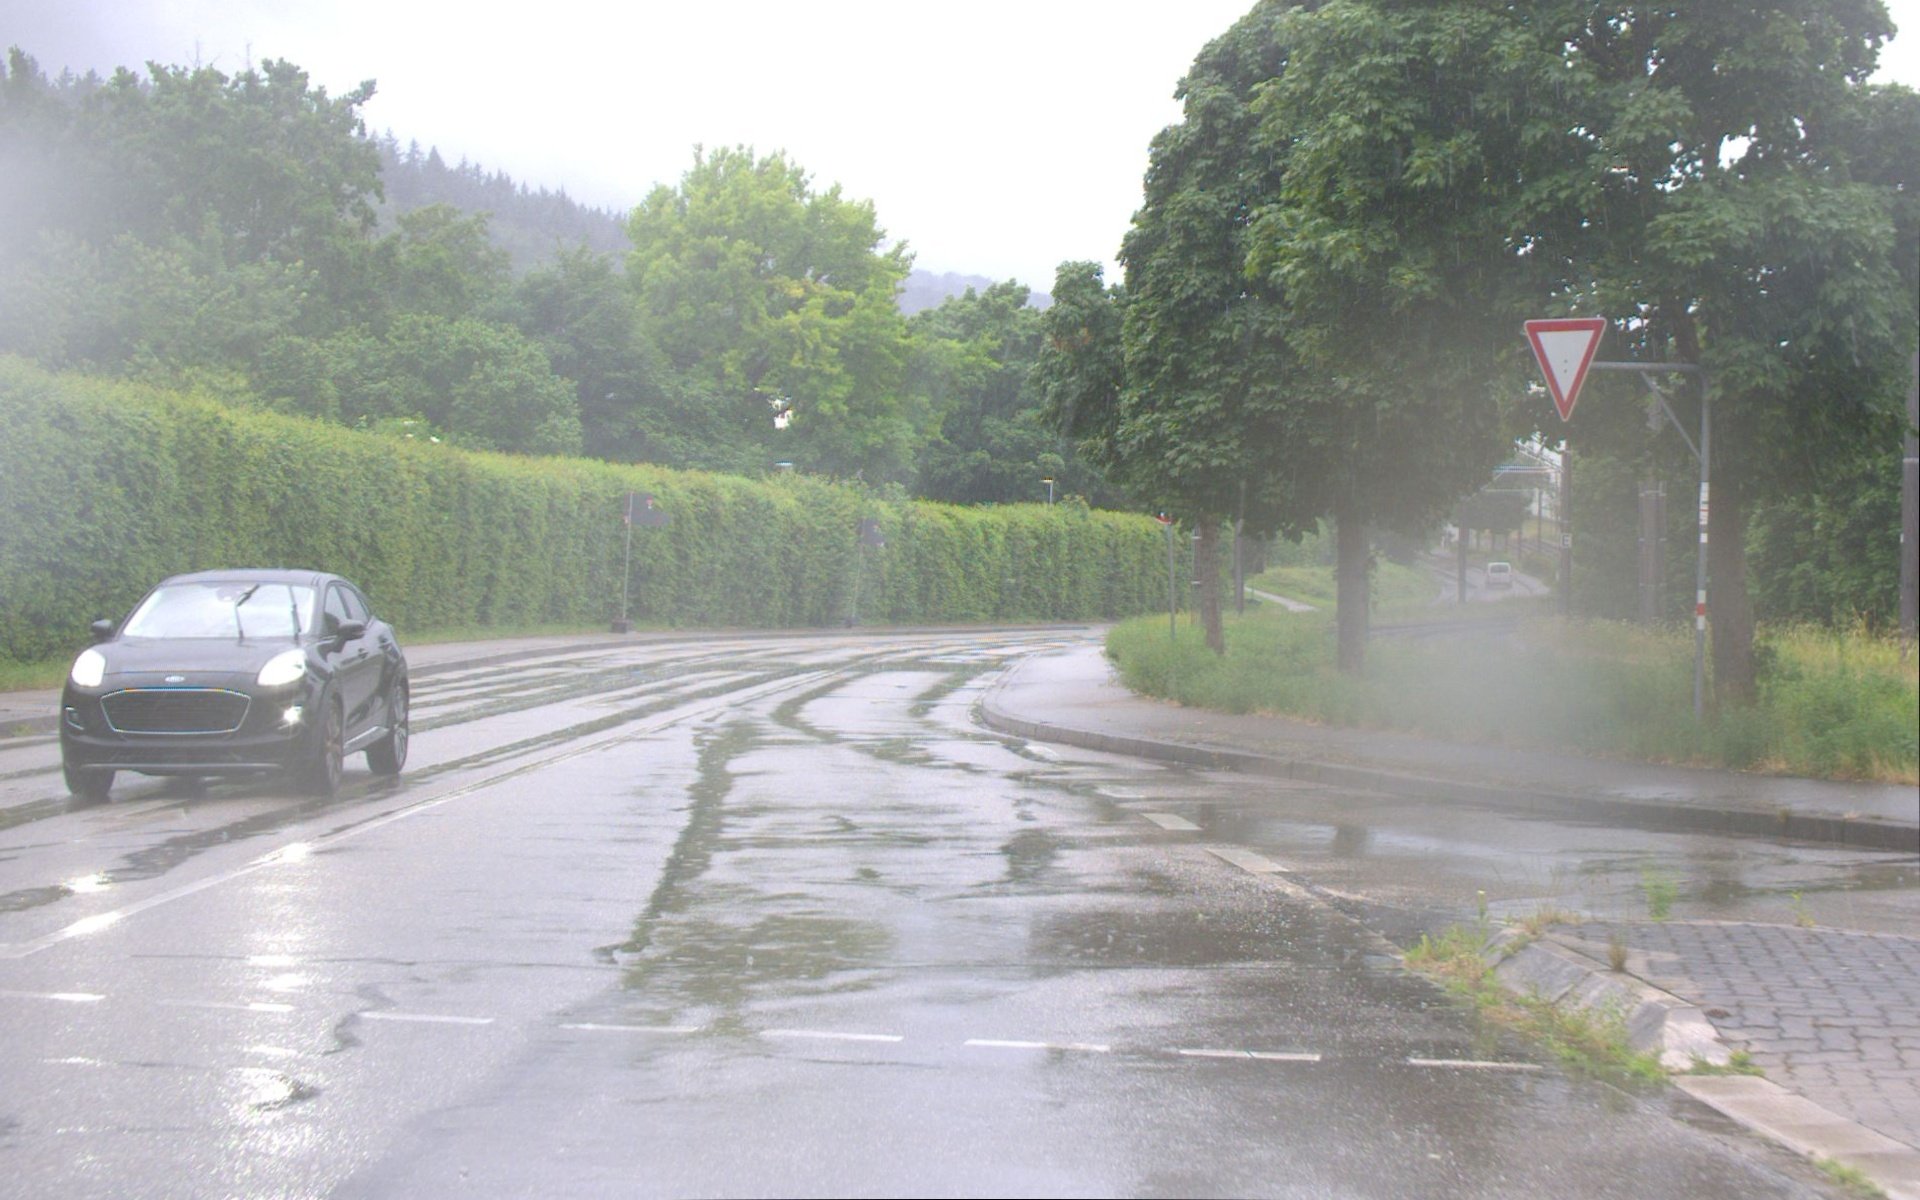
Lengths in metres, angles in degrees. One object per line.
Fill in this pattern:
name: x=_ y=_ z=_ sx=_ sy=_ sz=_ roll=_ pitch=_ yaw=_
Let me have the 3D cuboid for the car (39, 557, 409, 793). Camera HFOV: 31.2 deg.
car: x=-5.101 y=0.460 z=24.334 sx=1.785 sy=1.499 sz=4.061 roll=0 pitch=1 yaw=-1

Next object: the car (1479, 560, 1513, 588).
car: x=37.933 y=-1.849 z=243.276 sx=1.955 sy=1.897 sz=4.117 roll=1 pitch=1 yaw=15
